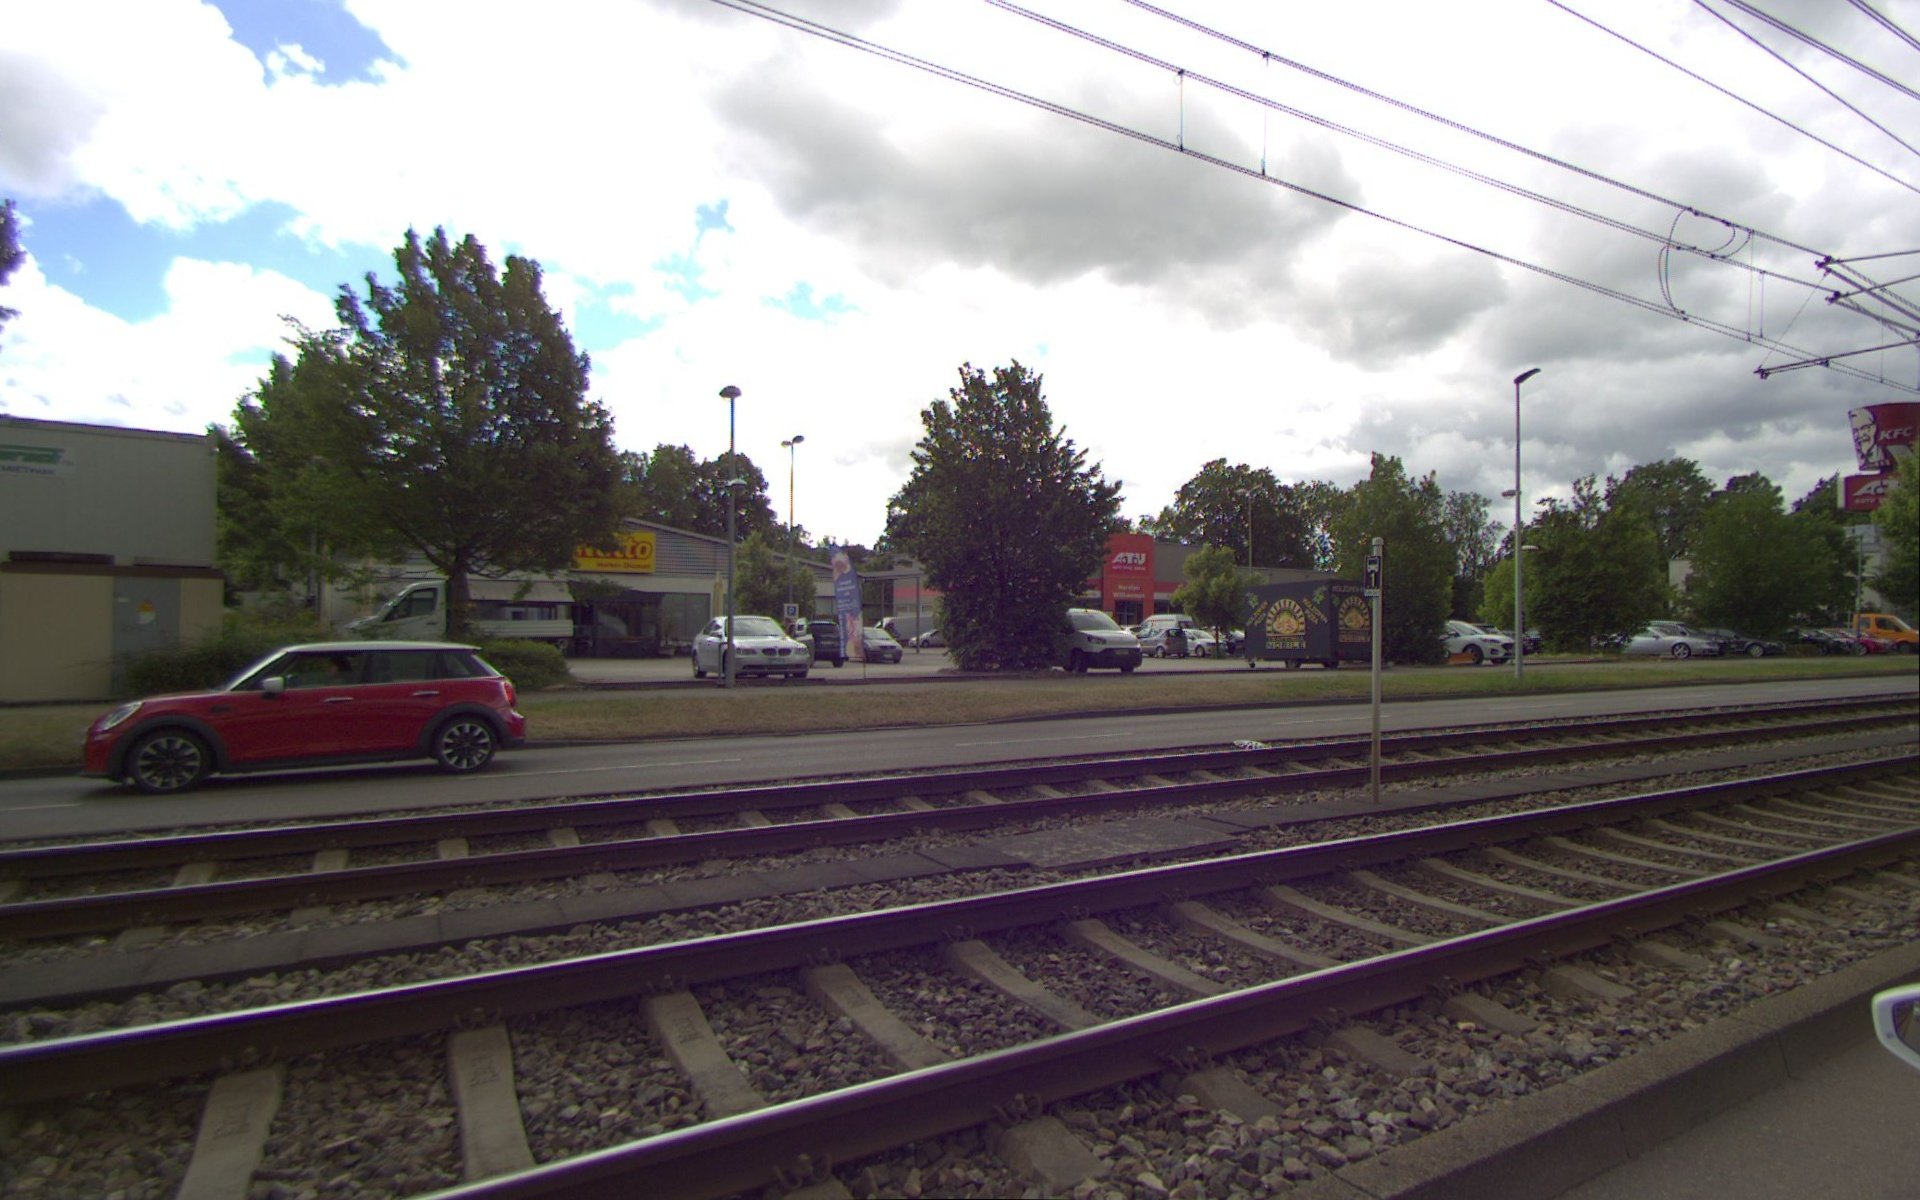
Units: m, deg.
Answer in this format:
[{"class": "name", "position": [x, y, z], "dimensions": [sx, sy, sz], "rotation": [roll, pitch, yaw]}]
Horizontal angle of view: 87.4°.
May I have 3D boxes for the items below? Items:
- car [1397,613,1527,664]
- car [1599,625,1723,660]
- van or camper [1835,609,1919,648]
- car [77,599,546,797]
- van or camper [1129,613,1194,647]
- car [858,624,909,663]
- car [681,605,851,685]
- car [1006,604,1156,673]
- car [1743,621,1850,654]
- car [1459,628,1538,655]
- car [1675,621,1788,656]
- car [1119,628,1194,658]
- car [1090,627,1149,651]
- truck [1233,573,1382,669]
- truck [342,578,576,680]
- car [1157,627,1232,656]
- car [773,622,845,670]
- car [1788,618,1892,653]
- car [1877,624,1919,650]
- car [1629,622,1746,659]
[{"class": "car", "position": [18.731, 1.432, 37.628], "dimensions": [1.858, 1.821, 3.963], "rotation": [1, -2, -34]}, {"class": "car", "position": [31.280, 1.856, 44.950], "dimensions": [1.661, 1.491, 4.284], "rotation": [1, -1, -31]}, {"class": "van or camper", "position": [52.906, 1.611, 57.474], "dimensions": [1.858, 2.163, 3.963], "rotation": [1, 0, -34]}, {"class": "car", "position": [-6.767, 0.943, 10.922], "dimensions": [3.955, 1.795, 1.783], "rotation": [1, -2, -32]}, {"class": "van or camper", "position": [13.394, 2.002, 66.958], "dimensions": [1.803, 2.173, 4.235], "rotation": [1, -2, -34]}, {"class": "car", "position": [-3.356, 1.847, 43.439], "dimensions": [1.835, 1.617, 3.994], "rotation": [0, -2, -9]}, {"class": "car", "position": [-4.644, 0.992, 23.402], "dimensions": [2.619, 1.650, 4.762], "rotation": [0, -1, -28]}, {"class": "car", "position": [3.263, 1.052, 27.857], "dimensions": [1.973, 1.750, 4.199], "rotation": [1, -2, -31]}, {"class": "car", "position": [43.745, 1.946, 52.598], "dimensions": [1.858, 1.620, 3.963], "rotation": [1, -2, -34]}, {"class": "car", "position": [31.209, 2.397, 58.311], "dimensions": [1.664, 1.491, 3.717], "rotation": [1, -2, -36]}, {"class": "car", "position": [37.572, 1.878, 49.003], "dimensions": [1.858, 1.620, 3.963], "rotation": [1, -2, -34]}, {"class": "car", "position": [10.209, 2.239, 52.355], "dimensions": [1.664, 1.491, 3.717], "rotation": [1, -2, -36]}, {"class": "car", "position": [10.403, 2.531, 65.742], "dimensions": [1.664, 1.491, 3.717], "rotation": [1, -2, -36]}, {"class": "truck", "position": [11.148, 0.707, 32.433], "dimensions": [2.350, 2.859, 3.966], "rotation": [1, -2, -32]}, {"class": "truck", "position": [-12.769, 0.748, 25.811], "dimensions": [5.201, 2.414, 1.984], "rotation": [1, -2, -30]}, {"class": "car", "position": [12.478, 2.219, 53.602], "dimensions": [1.664, 1.491, 3.717], "rotation": [1, -2, -36]}, {"class": "car", "position": [-5.471, 1.603, 36.098], "dimensions": [1.669, 1.617, 3.979], "rotation": [1, -2, -22]}, {"class": "car", "position": [48.341, 1.907, 55.236], "dimensions": [1.858, 1.821, 3.963], "rotation": [1, 0, -34]}, {"class": "car", "position": [59.858, 2.279, 62.407], "dimensions": [1.778, 1.620, 3.963], "rotation": [1, -2, -34]}, {"class": "car", "position": [33.483, 1.851, 46.325], "dimensions": [1.858, 1.656, 3.963], "rotation": [1, -2, -34]}]
